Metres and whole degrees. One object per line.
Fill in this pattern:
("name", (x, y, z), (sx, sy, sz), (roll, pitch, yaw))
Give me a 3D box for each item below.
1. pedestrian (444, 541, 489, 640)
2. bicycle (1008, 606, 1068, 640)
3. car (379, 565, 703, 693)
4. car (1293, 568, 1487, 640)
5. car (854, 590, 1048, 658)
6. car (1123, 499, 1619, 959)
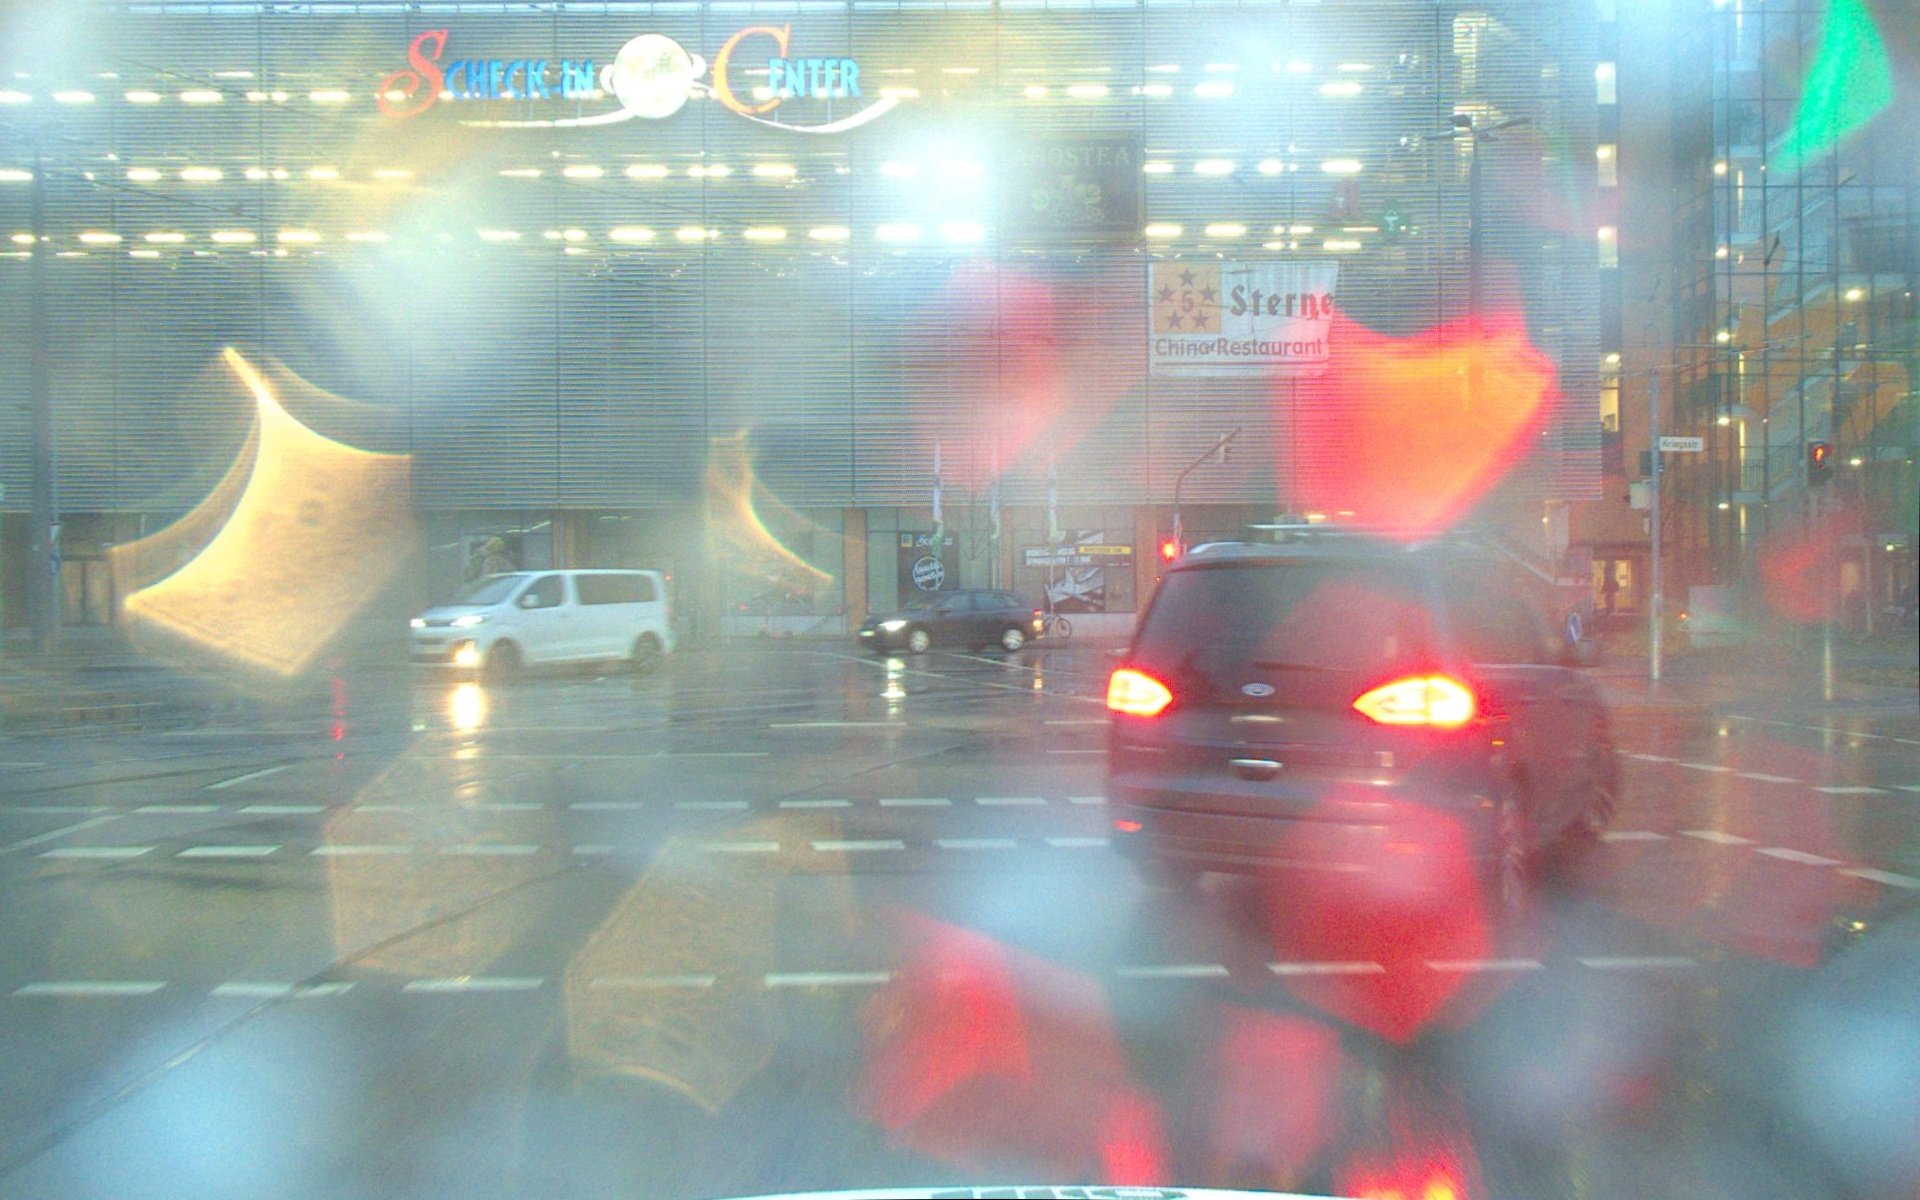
("pedestrian", (-15.064, -0.275, 50.496), (0.943, 2.976, 1.114), (1, -1, 2))
("bicycle", (2.715, 0.792, 57.404), (2.041, 1.141, 0.477), (1, -1, 0))
("car", (-7.391, 0.464, 29.767), (1.916, 2.095, 5.633), (-1, 0, 39))
("car", (11.065, 0.099, 42.745), (4.501, 1.749, 1.929), (-1, 0, -1))
("car", (-0.180, 0.535, 38.511), (4.368, 1.470, 1.611), (-1, 0, -33))
("car", (2.364, 0.510, 8.668), (1.641, 1.811, 3.995), (1, 0, 27))
